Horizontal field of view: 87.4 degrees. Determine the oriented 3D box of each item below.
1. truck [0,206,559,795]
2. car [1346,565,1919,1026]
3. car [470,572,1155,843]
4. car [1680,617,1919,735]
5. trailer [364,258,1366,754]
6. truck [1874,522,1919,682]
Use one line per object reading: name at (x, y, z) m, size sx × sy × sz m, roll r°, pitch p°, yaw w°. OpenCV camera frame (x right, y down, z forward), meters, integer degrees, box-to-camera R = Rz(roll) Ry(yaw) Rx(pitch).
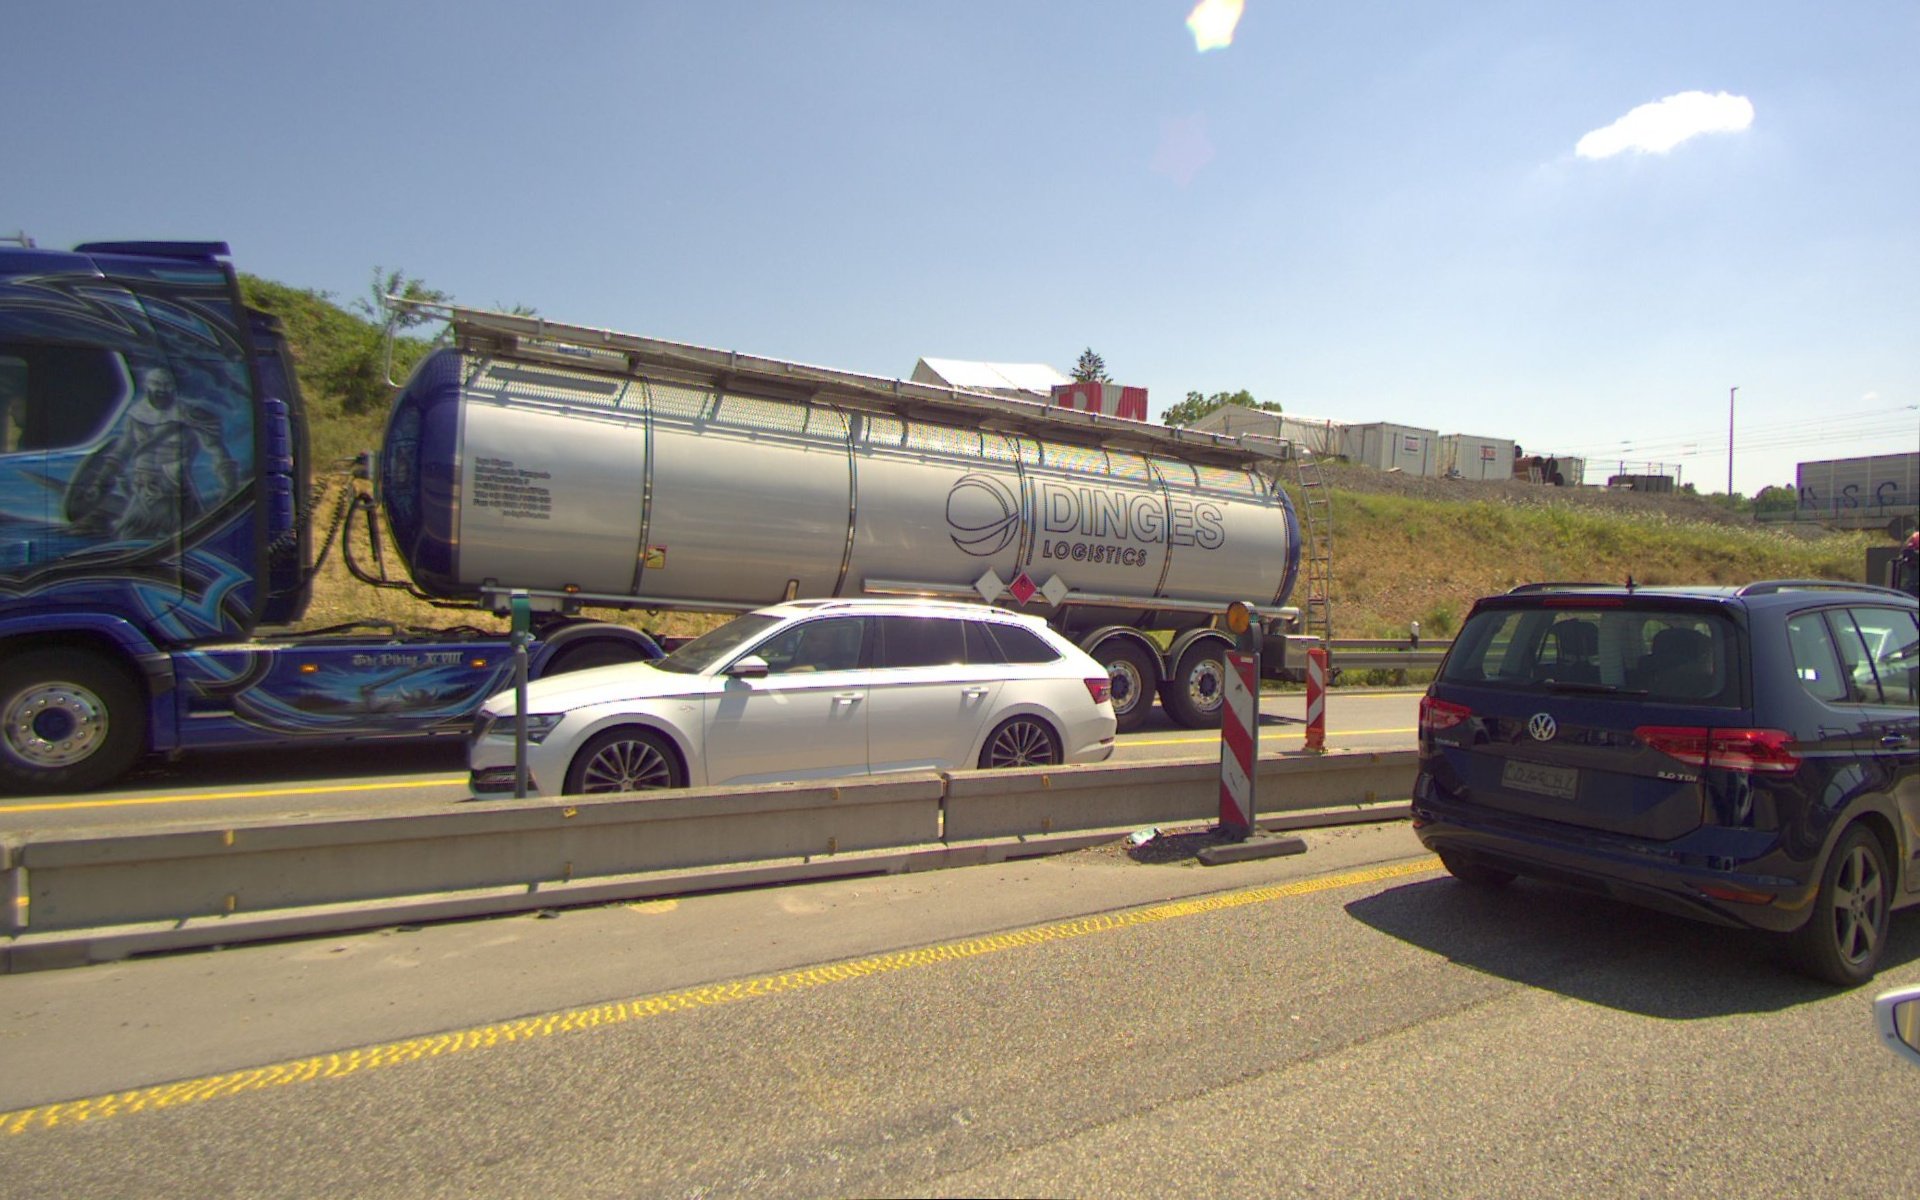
truck at (-6.056, -0.653, 8.625) m, size 4.532 × 4.029 × 2.572 m, roll 2°, pitch 0°, yaw -28°
car at (4.285, 0.735, 5.443) m, size 4.336 × 1.657 × 1.726 m, roll 1°, pitch 0°, yaw -30°
car at (-1.023, 0.645, 7.590) m, size 4.780 × 1.539 × 1.827 m, roll 1°, pitch 0°, yaw -27°
car at (12.718, 1.019, 14.564) m, size 4.475 × 1.448 × 1.827 m, roll 1°, pitch 0°, yaw -27°
trailer at (-0.291, -0.592, 11.657) m, size 11.130 × 3.922 × 2.590 m, roll 2°, pitch 0°, yaw -27°
truck at (25.774, 0.117, 25.292) m, size 5.318 × 3.879 × 2.572 m, roll 2°, pitch 0°, yaw -30°
